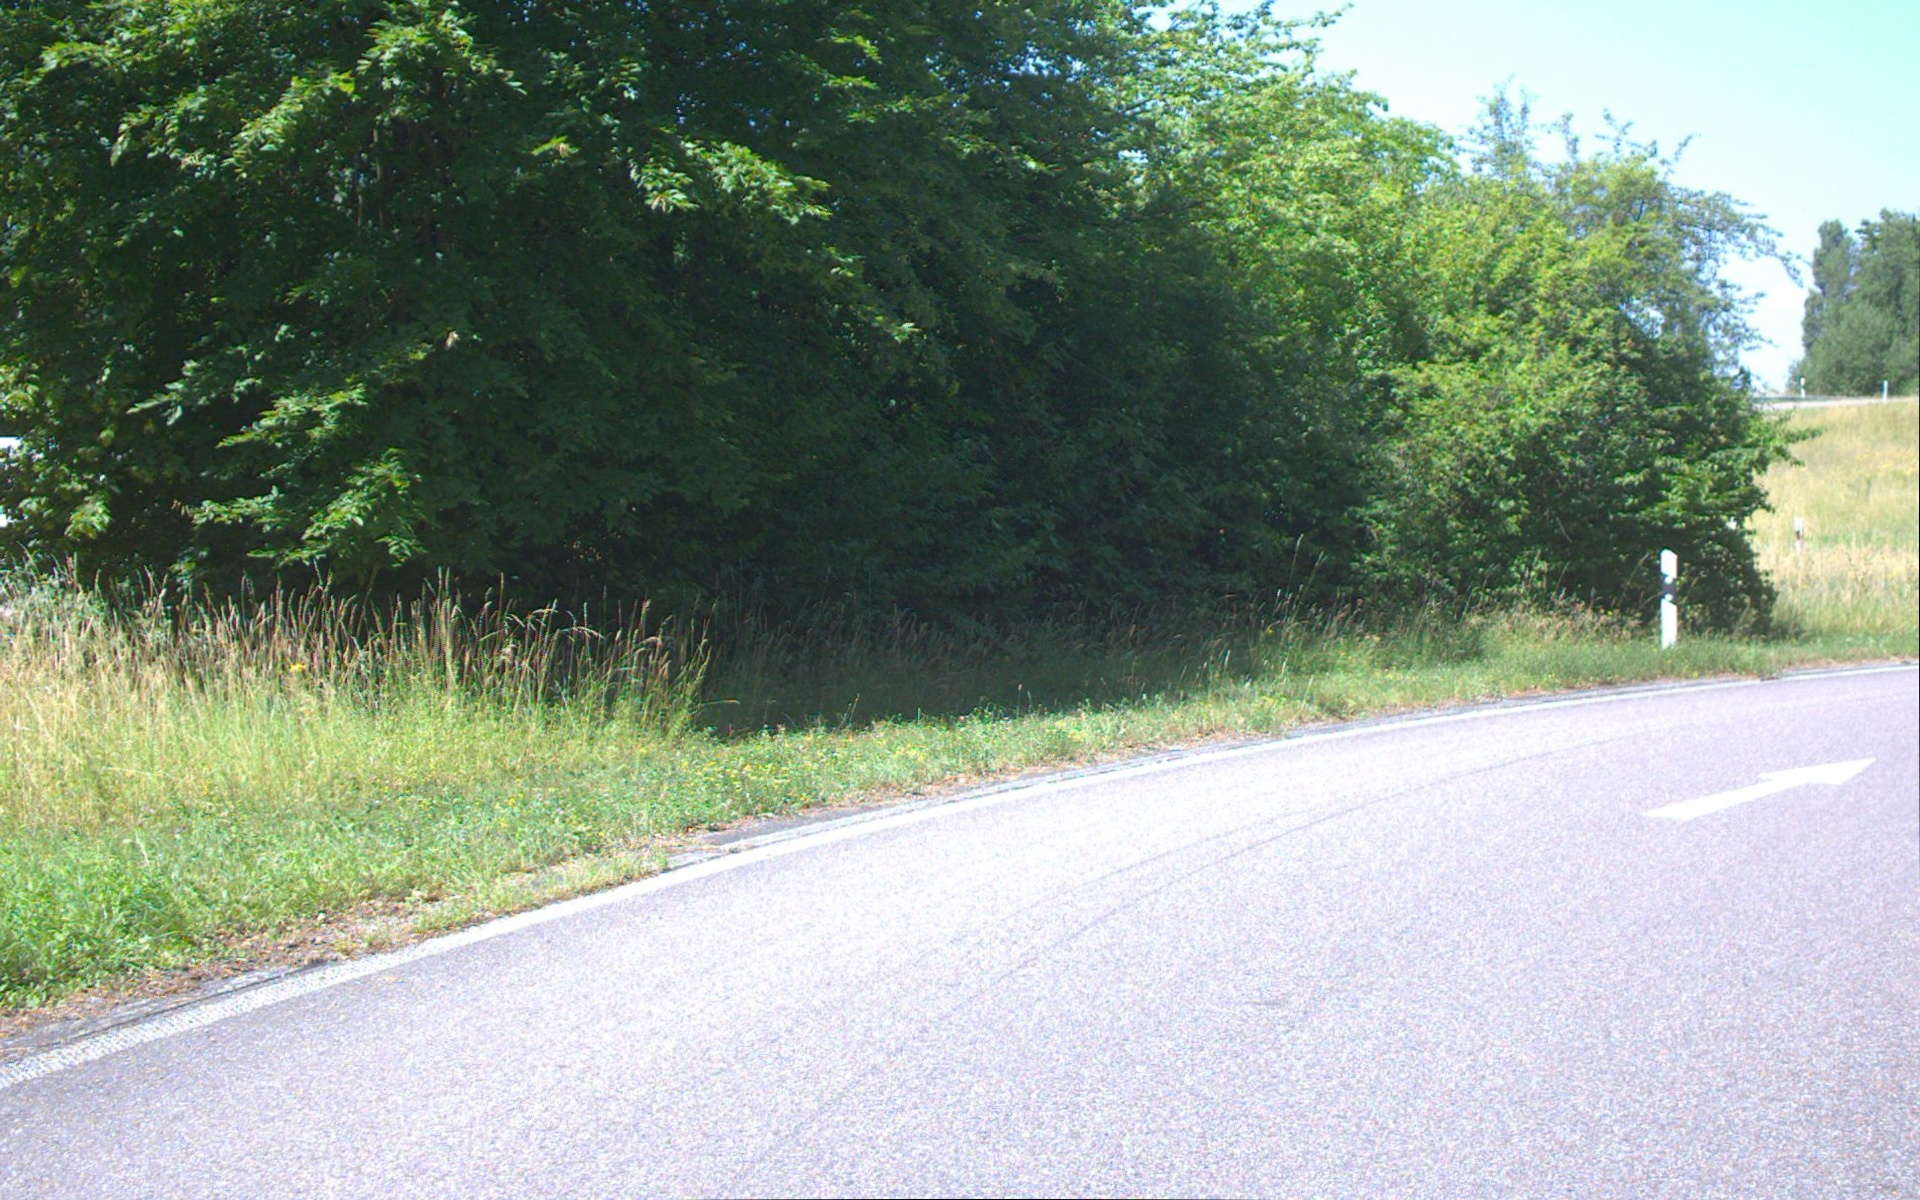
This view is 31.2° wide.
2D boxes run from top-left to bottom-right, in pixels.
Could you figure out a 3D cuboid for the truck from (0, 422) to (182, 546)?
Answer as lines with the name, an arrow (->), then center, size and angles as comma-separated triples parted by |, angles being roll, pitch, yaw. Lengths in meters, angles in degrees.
truck -> -22.262, -2.862, 84.321 | 5.879, 2.974, 2.246 | 1, 2, 16
